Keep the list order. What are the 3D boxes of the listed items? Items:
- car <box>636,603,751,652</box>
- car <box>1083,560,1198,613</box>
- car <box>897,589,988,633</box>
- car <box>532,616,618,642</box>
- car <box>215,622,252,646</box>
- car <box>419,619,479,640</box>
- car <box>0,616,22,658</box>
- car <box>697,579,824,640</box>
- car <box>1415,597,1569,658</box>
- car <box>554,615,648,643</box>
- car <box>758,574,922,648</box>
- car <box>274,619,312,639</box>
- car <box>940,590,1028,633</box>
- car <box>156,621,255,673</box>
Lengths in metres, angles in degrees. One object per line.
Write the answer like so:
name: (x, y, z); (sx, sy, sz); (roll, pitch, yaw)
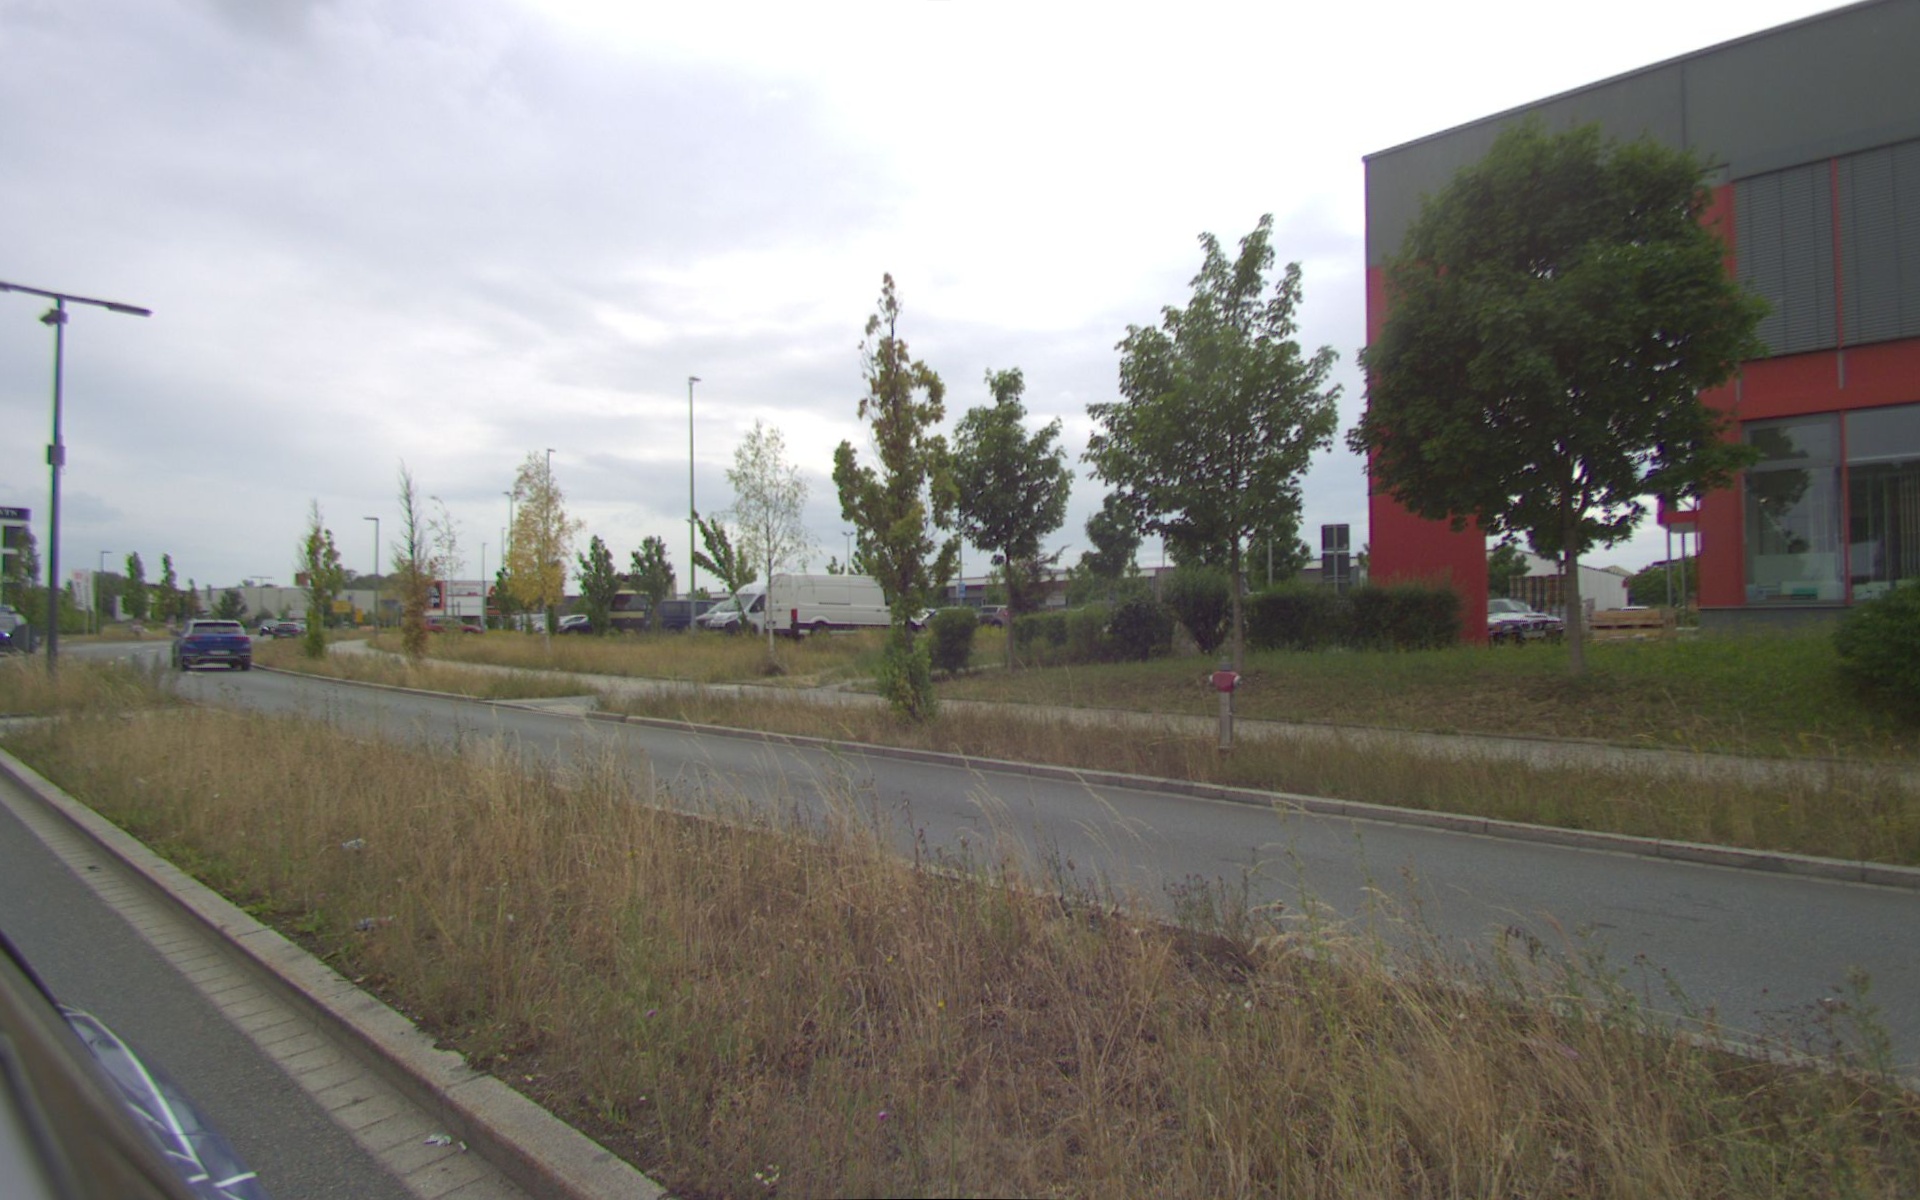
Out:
car: (-12.748, 1.319, 48.660); (4.979, 2.240, 2.067); (1, -2, -42)
car: (8.558, -0.589, 48.254); (5.049, 2.391, 2.039); (-1, 0, 38)
car: (-1.019, 0.592, 57.071); (5.056, 2.391, 2.036); (-1, 0, 42)
car: (-25.672, 1.941, 67.511); (4.976, 1.669, 2.068); (1, -2, -39)
car: (-52.464, 2.469, 73.132); (1.966, 1.683, 4.010); (-1, -1, -34)
car: (-38.373, 2.188, 76.040); (3.931, 1.475, 1.742); (-1, 0, -29)
car: (-40.968, 1.607, 42.624); (1.834, 1.683, 4.008); (-1, -2, -38)
car: (-8.265, 0.356, 42.268); (2.064, 2.391, 4.988); (-1, 0, 41)
car: (12.047, 0.593, 22.993); (2.860, 1.279, 1.245); (-1, 0, 43)
car: (-21.696, 1.750, 61.243); (4.976, 1.669, 2.068); (1, -2, -39)
car: (-4.495, 0.368, 38.937); (2.066, 2.644, 6.326); (-1, 0, 45)
car: (-51.877, 2.268, 78.776); (1.704, 1.504, 4.013); (1, -2, -22)
car: (1.382, 0.662, 59.279); (5.056, 2.391, 2.036); (-1, 0, 42)
car: (-23.659, 1.457, 31.690); (3.998, 1.524, 1.711); (-2, -2, 41)
